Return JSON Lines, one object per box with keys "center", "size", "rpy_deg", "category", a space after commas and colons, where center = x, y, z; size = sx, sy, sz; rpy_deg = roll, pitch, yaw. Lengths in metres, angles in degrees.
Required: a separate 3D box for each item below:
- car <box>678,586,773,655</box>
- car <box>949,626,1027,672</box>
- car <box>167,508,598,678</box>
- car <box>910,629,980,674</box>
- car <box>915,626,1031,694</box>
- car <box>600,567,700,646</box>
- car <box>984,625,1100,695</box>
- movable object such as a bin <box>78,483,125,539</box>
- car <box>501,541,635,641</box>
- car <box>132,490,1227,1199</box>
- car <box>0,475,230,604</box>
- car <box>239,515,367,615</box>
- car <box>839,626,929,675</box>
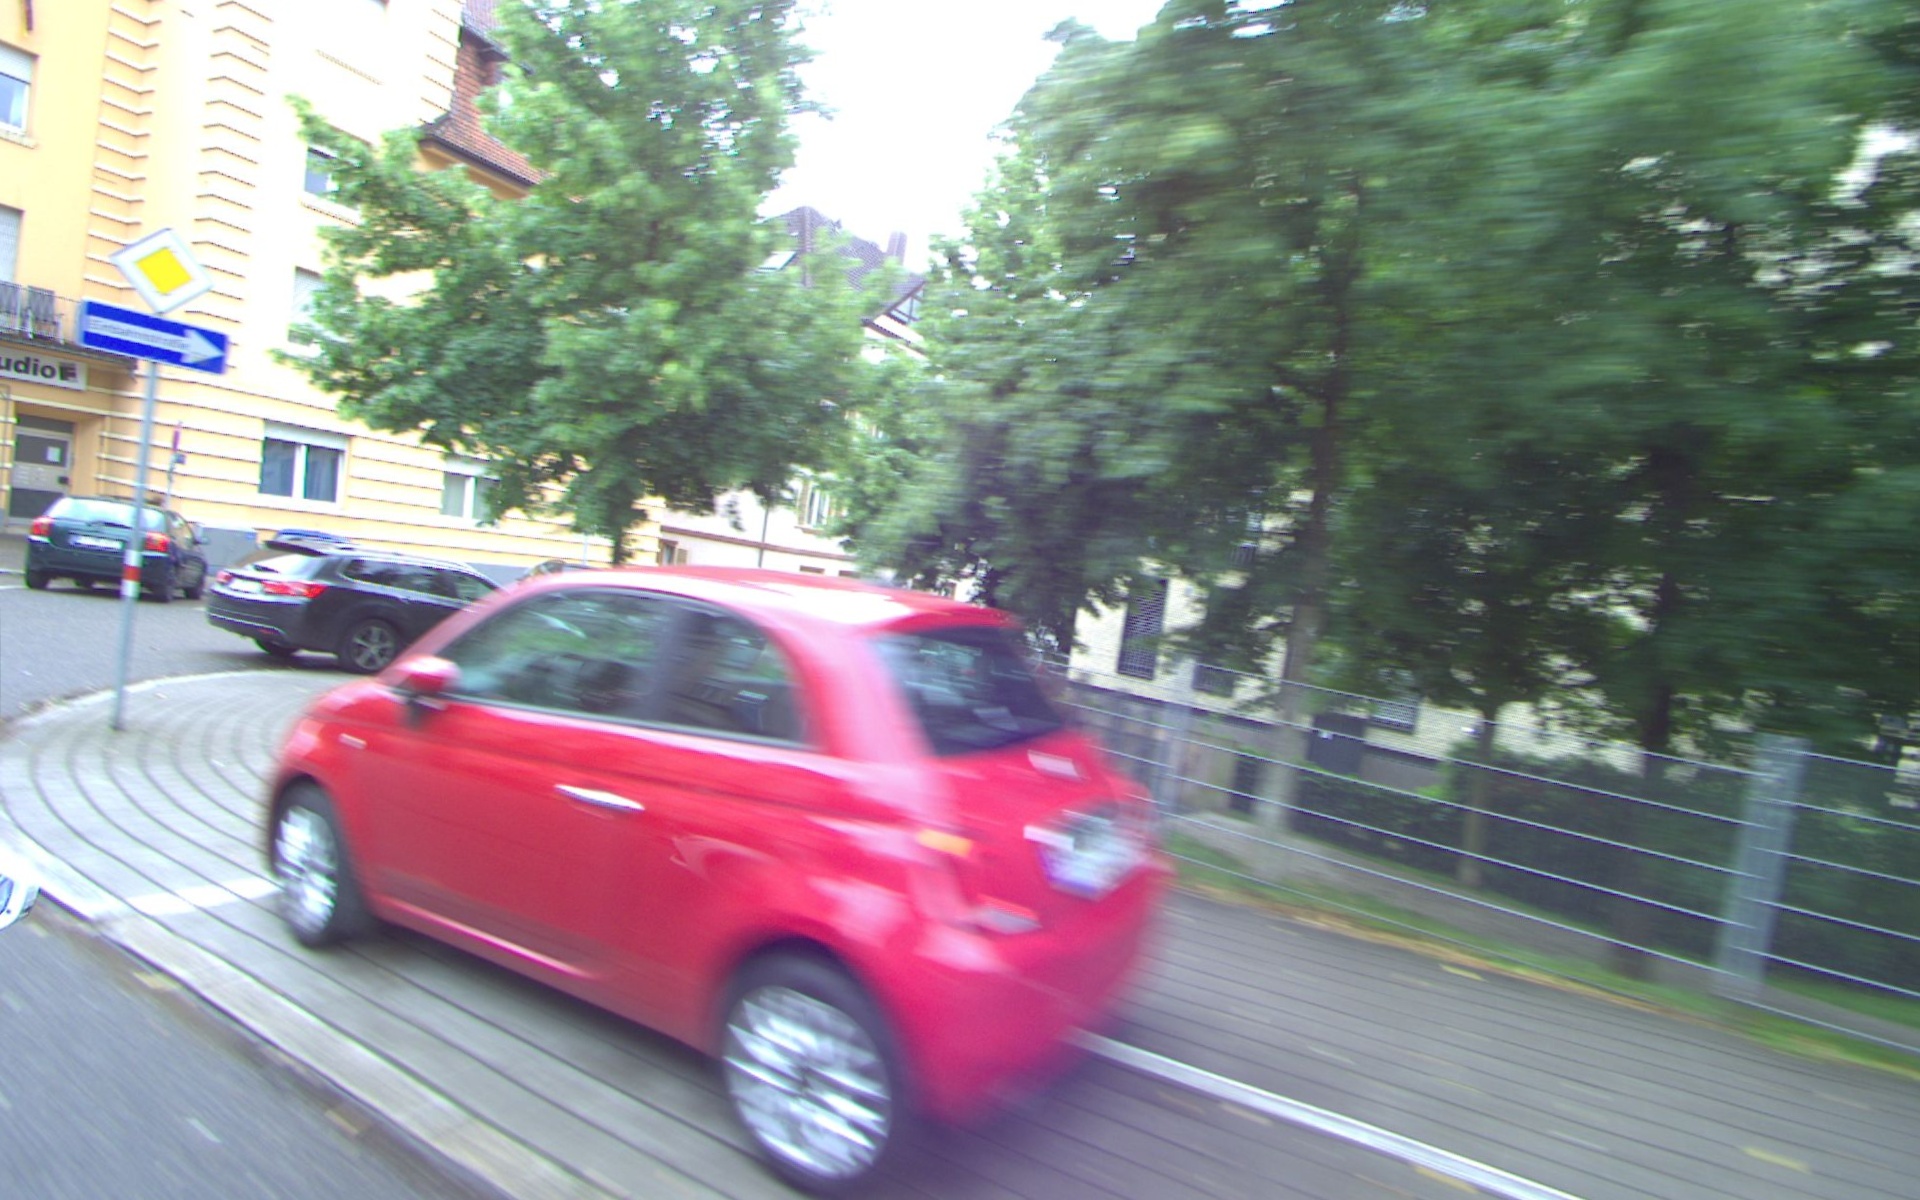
{"center": [-6.720, 0.547, 28.537], "size": [1.688, 1.488, 3.585], "rpy_deg": [5, 2, -27], "category": "car"}
{"center": [1.321, 2.292, 46.200], "size": [1.795, 1.552, 3.860], "rpy_deg": [11, 0, 30], "category": "car"}
{"center": [-7.040, 0.042, 12.832], "size": [1.966, 1.515, 4.282], "rpy_deg": [9, -1, 25], "category": "car"}
{"center": [-0.602, 2.189, 42.379], "size": [1.598, 1.451, 2.764], "rpy_deg": [11, 0, 30], "category": "car"}
{"center": [0.433, 1.739, 28.566], "size": [1.746, 1.441, 3.528], "rpy_deg": [11, 0, 27], "category": "car"}
{"center": [-8.114, 0.126, 26.115], "size": [1.690, 1.486, 3.585], "rpy_deg": [10, 0, -28], "category": "car"}
{"center": [2.755, 2.011, 32.871], "size": [1.934, 1.728, 4.334], "rpy_deg": [11, 0, 29], "category": "car"}
{"center": [-18.688, -1.928, 21.900], "size": [0.504, 1.069, 0.506], "rpy_deg": [14, 3, 30], "category": "movable object such as a bin"}
{"center": [-9.308, -0.284, 23.652], "size": [1.694, 1.745, 4.493], "rpy_deg": [8, 1, -36], "category": "car"}
{"center": [-1.225, 0.567, 3.778], "size": [3.891, 1.522, 1.610], "rpy_deg": [8, 3, 30], "category": "car"}
{"center": [-13.260, -0.872, 16.062], "size": [1.836, 1.484, 4.083], "rpy_deg": [11, -3, -27], "category": "car"}
{"center": [-12.368, -0.643, 19.140], "size": [1.691, 1.509, 3.610], "rpy_deg": [8, -2, -30], "category": "car"}
{"center": [-2.854, 1.957, 38.412], "size": [1.584, 1.404, 3.527], "rpy_deg": [11, 0, 29], "category": "car"}
